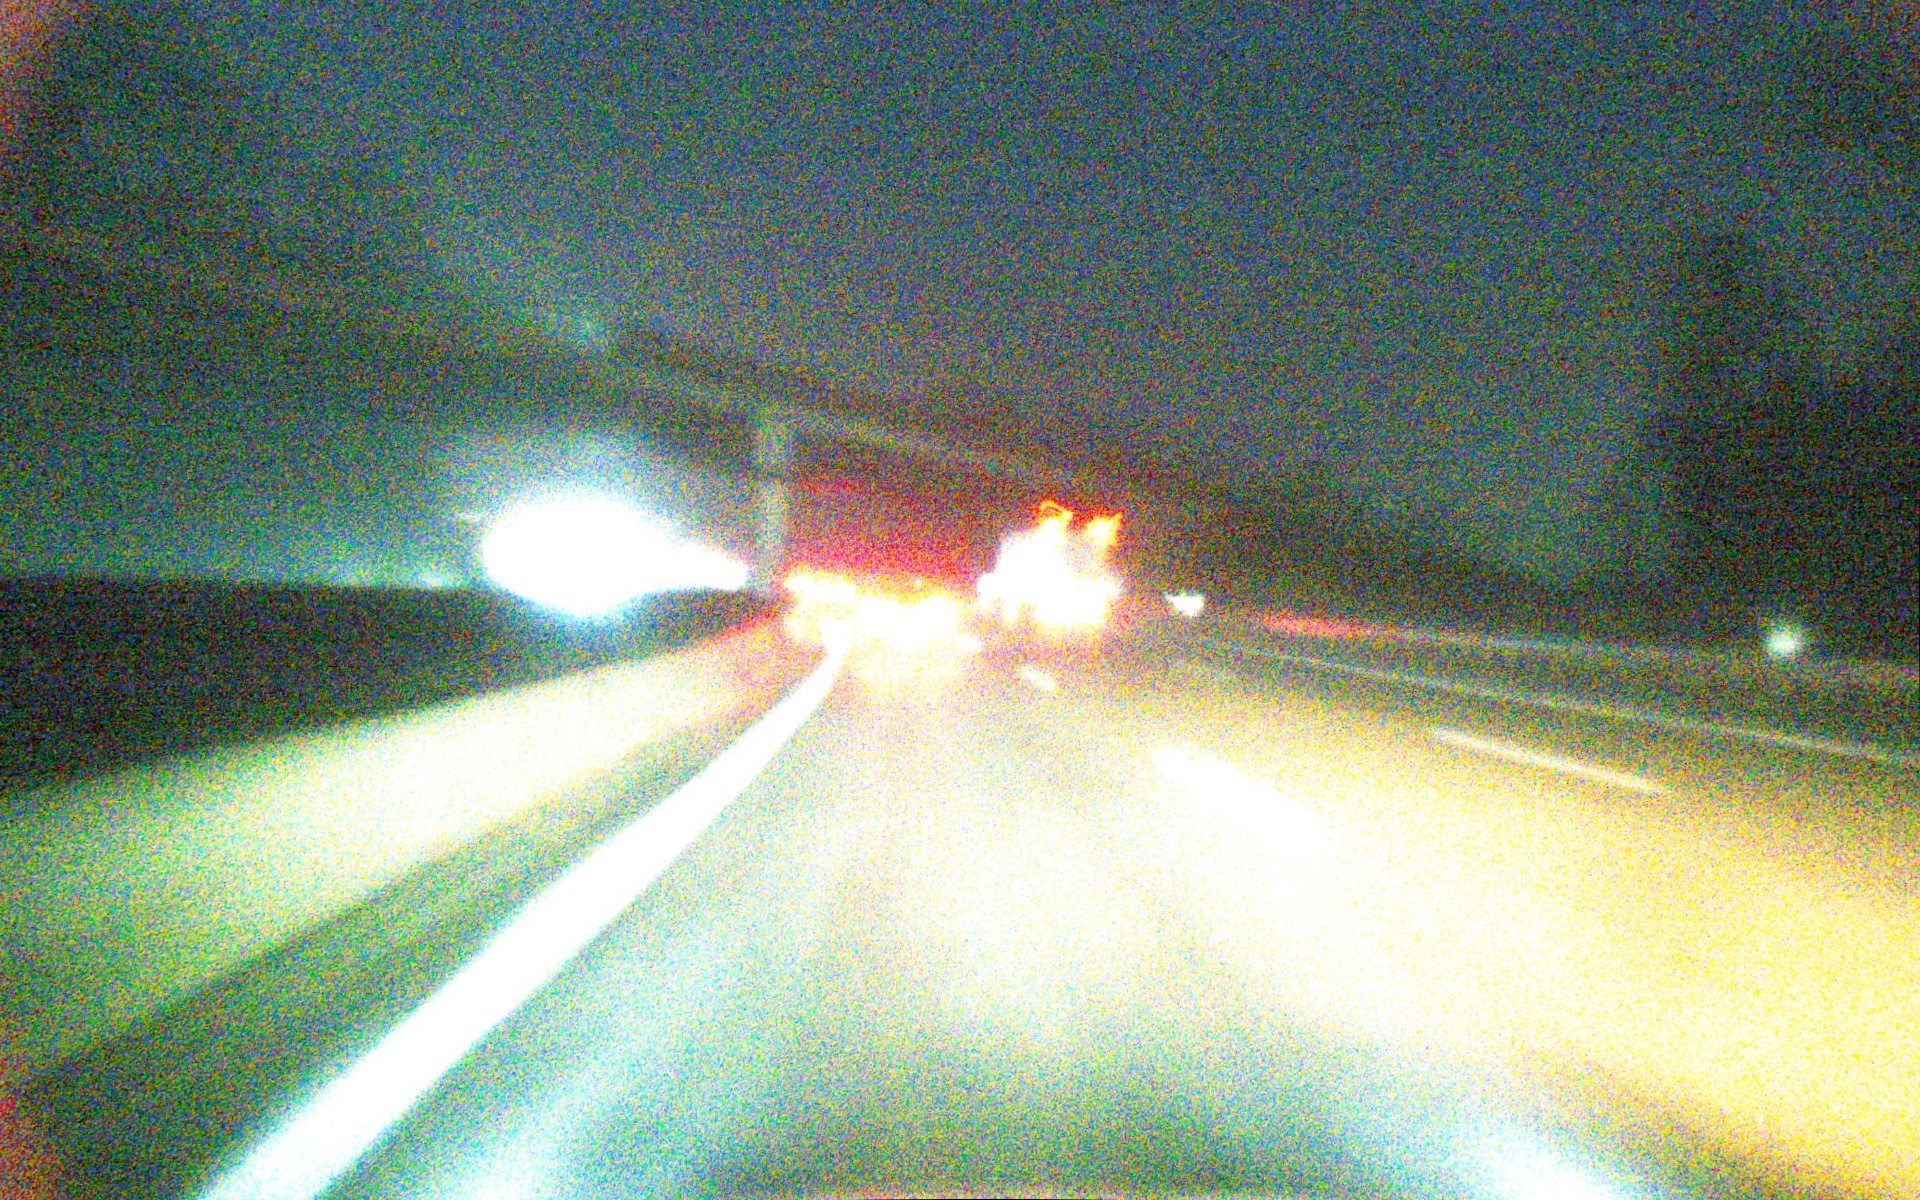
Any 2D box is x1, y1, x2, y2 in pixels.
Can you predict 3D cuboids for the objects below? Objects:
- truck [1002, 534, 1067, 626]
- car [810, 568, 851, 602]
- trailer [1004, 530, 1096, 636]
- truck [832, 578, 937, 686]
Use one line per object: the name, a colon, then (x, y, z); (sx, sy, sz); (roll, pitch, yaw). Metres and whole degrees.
truck: (3.610, -1.022, 81.332); (2.656, 4.315, 5.290); (1, 1, -3)
car: (-8.016, -0.890, 102.163); (1.960, 2.049, 3.985); (0, 0, -14)
trailer: (3.888, -0.872, 74.688); (2.684, 4.321, 13.365); (-1, 2, -3)
truck: (-1.721, 0.673, 39.834); (2.102, 2.112, 6.604); (5, 1, -1)
